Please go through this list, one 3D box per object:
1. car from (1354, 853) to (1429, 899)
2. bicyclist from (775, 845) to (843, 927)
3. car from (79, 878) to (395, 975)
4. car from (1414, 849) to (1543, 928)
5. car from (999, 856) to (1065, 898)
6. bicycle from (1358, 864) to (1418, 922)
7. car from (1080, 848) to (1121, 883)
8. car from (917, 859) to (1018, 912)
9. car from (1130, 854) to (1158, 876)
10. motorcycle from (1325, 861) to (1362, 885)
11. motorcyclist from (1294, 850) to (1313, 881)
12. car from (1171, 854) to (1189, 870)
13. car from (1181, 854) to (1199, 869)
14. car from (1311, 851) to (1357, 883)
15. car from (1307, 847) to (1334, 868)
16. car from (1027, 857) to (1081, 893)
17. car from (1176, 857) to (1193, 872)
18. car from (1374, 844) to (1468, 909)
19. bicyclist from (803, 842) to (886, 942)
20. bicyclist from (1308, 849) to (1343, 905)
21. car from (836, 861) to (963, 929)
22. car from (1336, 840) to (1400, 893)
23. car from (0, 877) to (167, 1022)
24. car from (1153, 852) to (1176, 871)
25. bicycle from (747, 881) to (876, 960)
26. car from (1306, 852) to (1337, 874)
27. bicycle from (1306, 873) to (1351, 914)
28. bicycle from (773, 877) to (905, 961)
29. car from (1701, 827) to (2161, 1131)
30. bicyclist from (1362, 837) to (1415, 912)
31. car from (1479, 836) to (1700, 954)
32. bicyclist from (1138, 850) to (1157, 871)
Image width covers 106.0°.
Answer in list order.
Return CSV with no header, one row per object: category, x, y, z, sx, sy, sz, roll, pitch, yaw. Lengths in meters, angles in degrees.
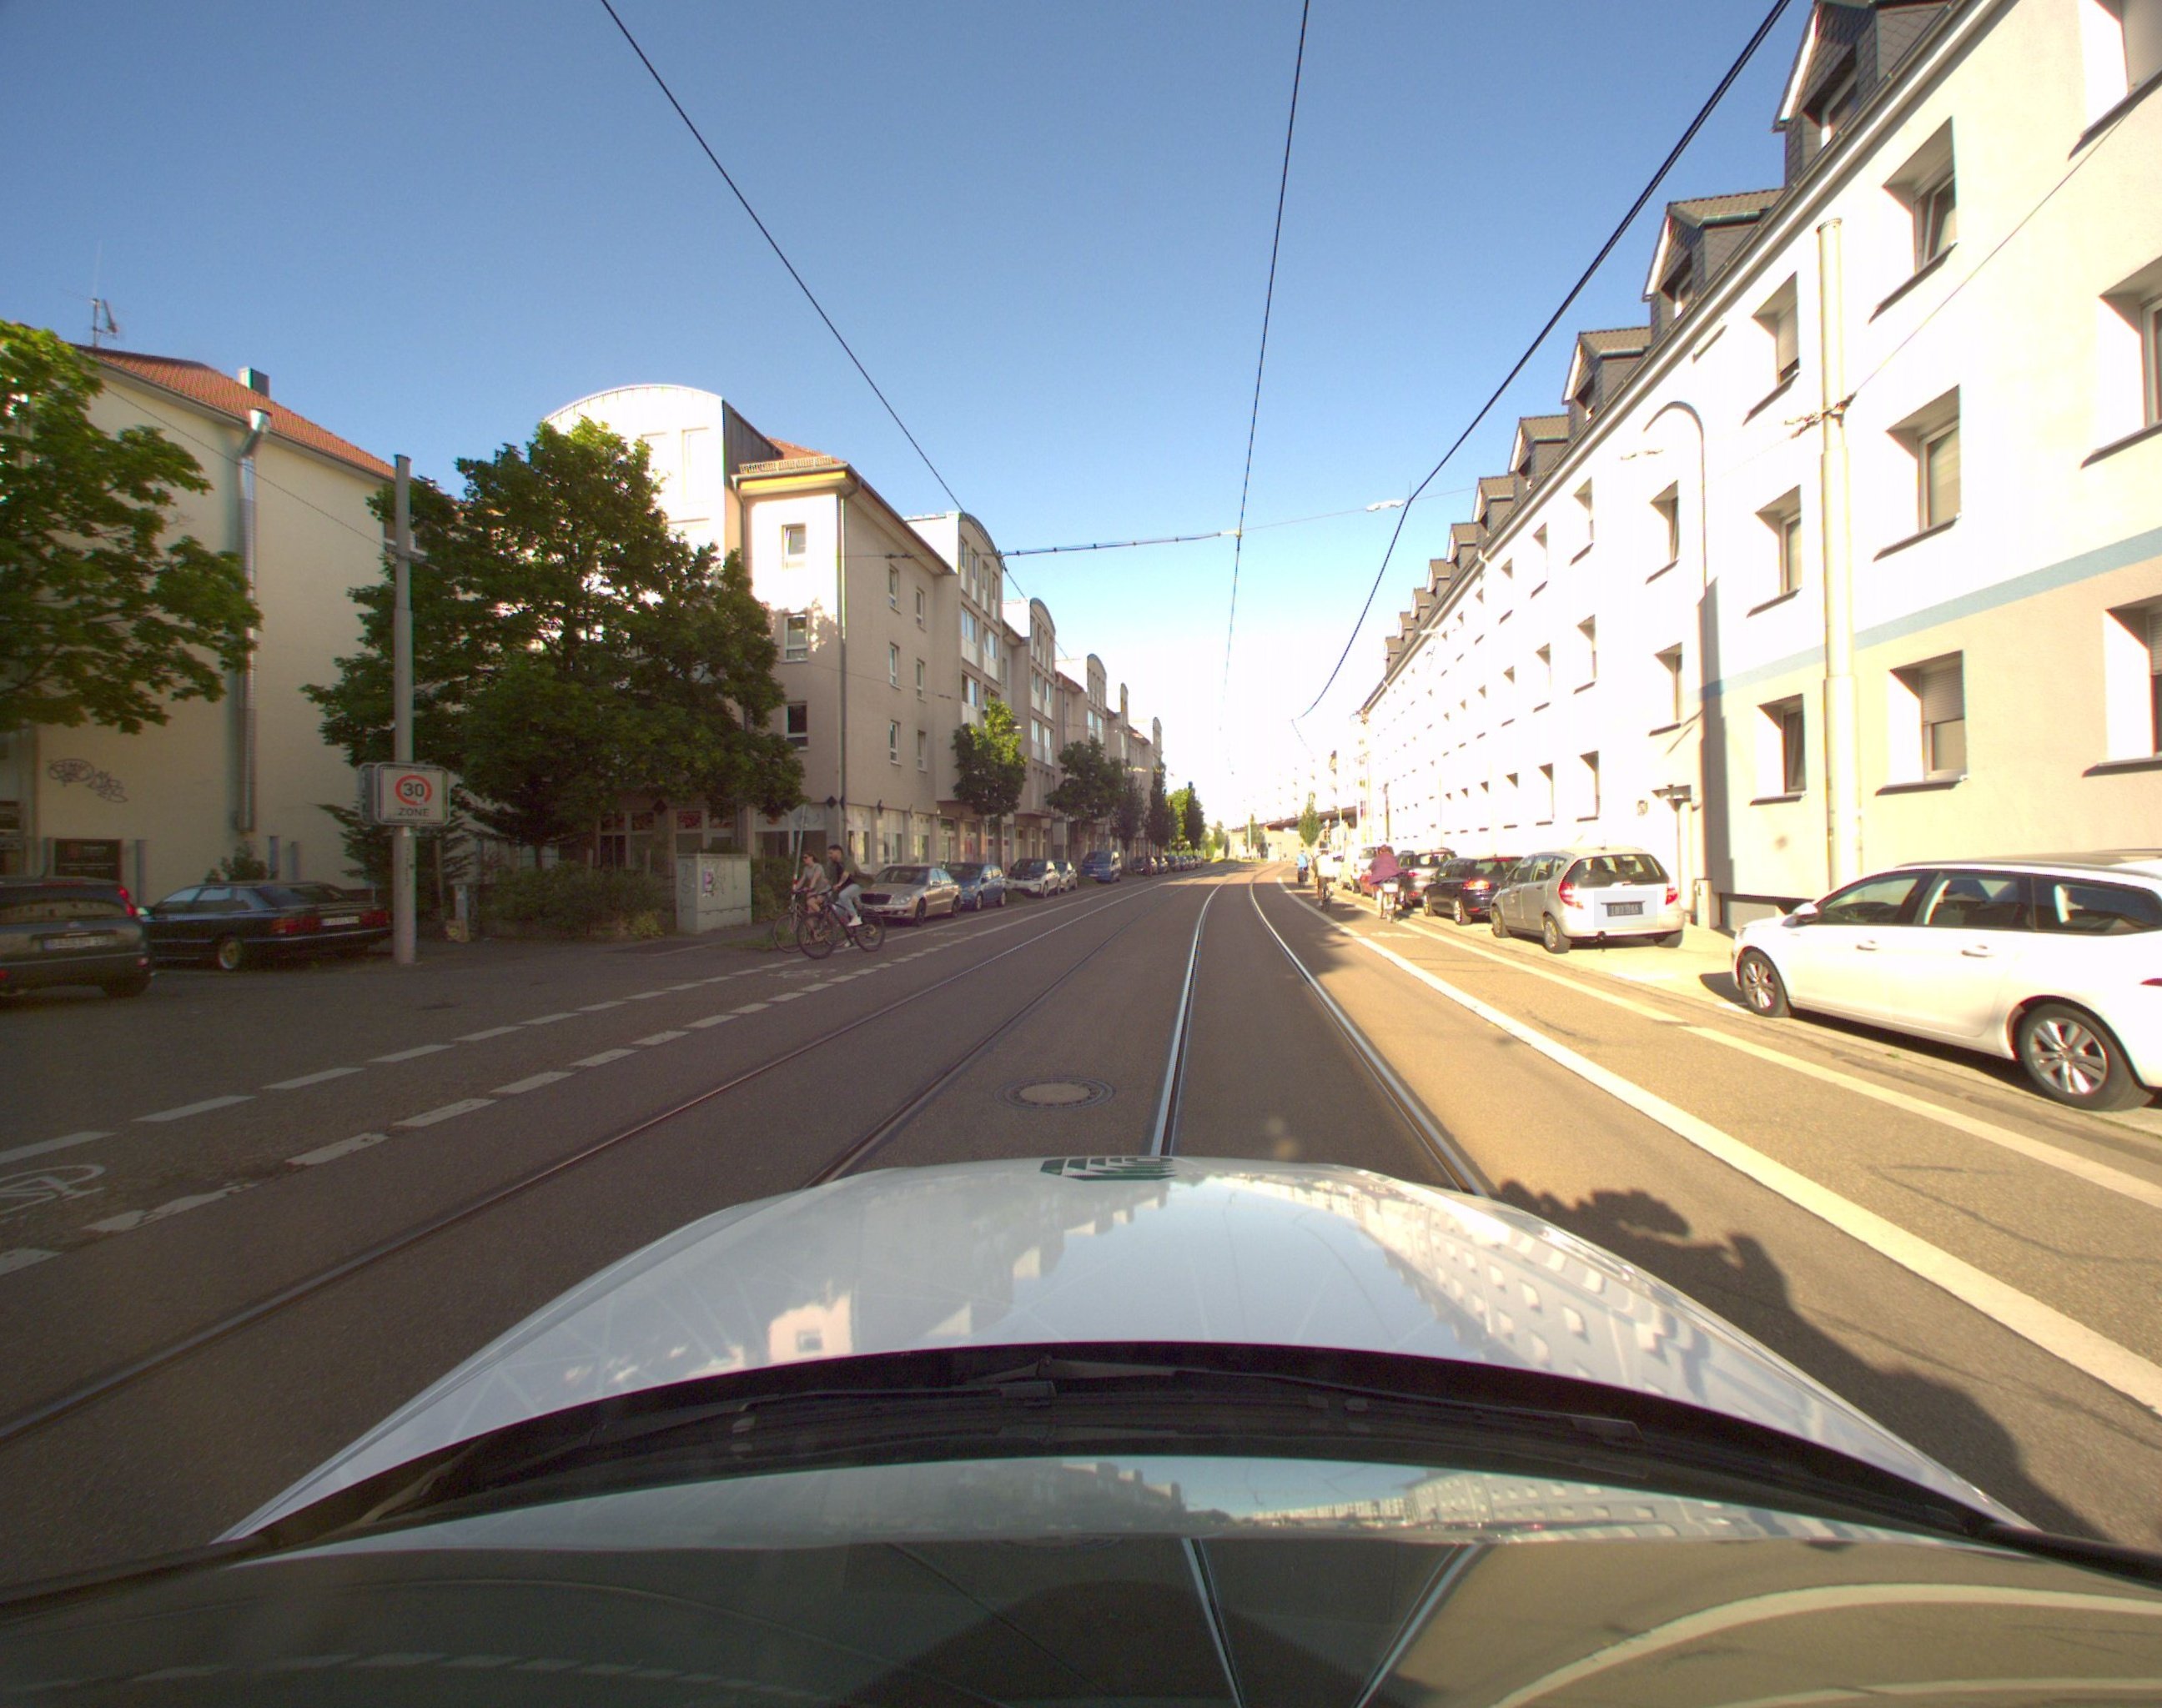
car,10.846,0.773,28.695,1.784,1.483,3.789,-1,-1,10
bicyclist,-4.903,0.569,14.709,0.617,1.380,0.873,-6,-1,22
car,-14.209,1.215,13.747,4.520,1.388,1.721,-3,-1,16
car,8.942,0.702,18.646,1.581,1.537,4.019,-3,-1,11
car,-2.022,0.938,34.708,1.818,1.593,4.013,-1,0,11
bicycle,7.135,0.865,19.061,0.816,1.236,2.468,0,0,9
car,1.227,0.667,48.550,1.654,1.986,4.356,-1,0,11
car,-3.606,0.971,26.596,1.817,1.489,4.015,-3,0,14
car,4.937,0.803,63.703,1.654,1.618,4.012,-1,0,11
motorcycle,12.525,0.901,38.886,0.493,1.144,1.754,-1,0,-30
motorcyclist,10.267,0.519,37.622,0.723,1.405,1.023,-1,0,8
car,9.977,0.827,81.838,1.582,1.540,3.200,-1,0,10
car,12.219,0.791,91.331,1.832,1.646,3.708,-1,0,10
car,13.778,0.661,44.620,1.832,1.646,4.561,-1,0,10
car,21.245,0.317,72.364,1.832,1.756,4.561,-1,0,10
car,-1.252,0.969,39.151,1.819,1.593,4.010,-1,0,9
car,10.992,1.084,86.439,1.582,1.540,3.200,-1,0,10
car,9.811,0.596,23.775,1.650,1.670,3.915,-3,0,10
bicyclist,-3.922,0.610,13.549,0.874,1.561,0.873,-5,-1,22
bicyclist,6.614,0.603,22.073,0.723,1.462,1.023,-1,0,8
car,-4.490,0.957,20.782,1.734,1.442,4.010,3,1,9
car,11.719,0.469,33.519,1.775,1.970,4.167,-3,0,11
car,-13.133,1.092,9.582,3.453,1.533,1.566,-2,-2,10
car,8.026,0.697,78.129,1.832,1.646,4.561,-1,0,10
bicycle,-4.805,1.161,14.729,0.831,1.149,2.245,-6,-1,23
car,18.356,0.664,62.357,1.832,1.646,3.976,-1,0,10
bicycle,6.578,1.023,21.804,0.734,0.924,2.843,2,0,9
bicycle,-3.923,1.030,13.438,0.832,1.149,2.244,-3,0,21
car,6.795,0.637,5.912,1.669,1.571,4.521,-3,0,9
bicyclist,7.132,0.470,18.936,0.929,1.676,0.972,-1,0,8
car,8.215,0.591,13.612,1.743,1.571,3.915,-5,-1,11
bicyclist,4.294,0.427,52.469,1.177,1.330,1.097,-1,0,7
